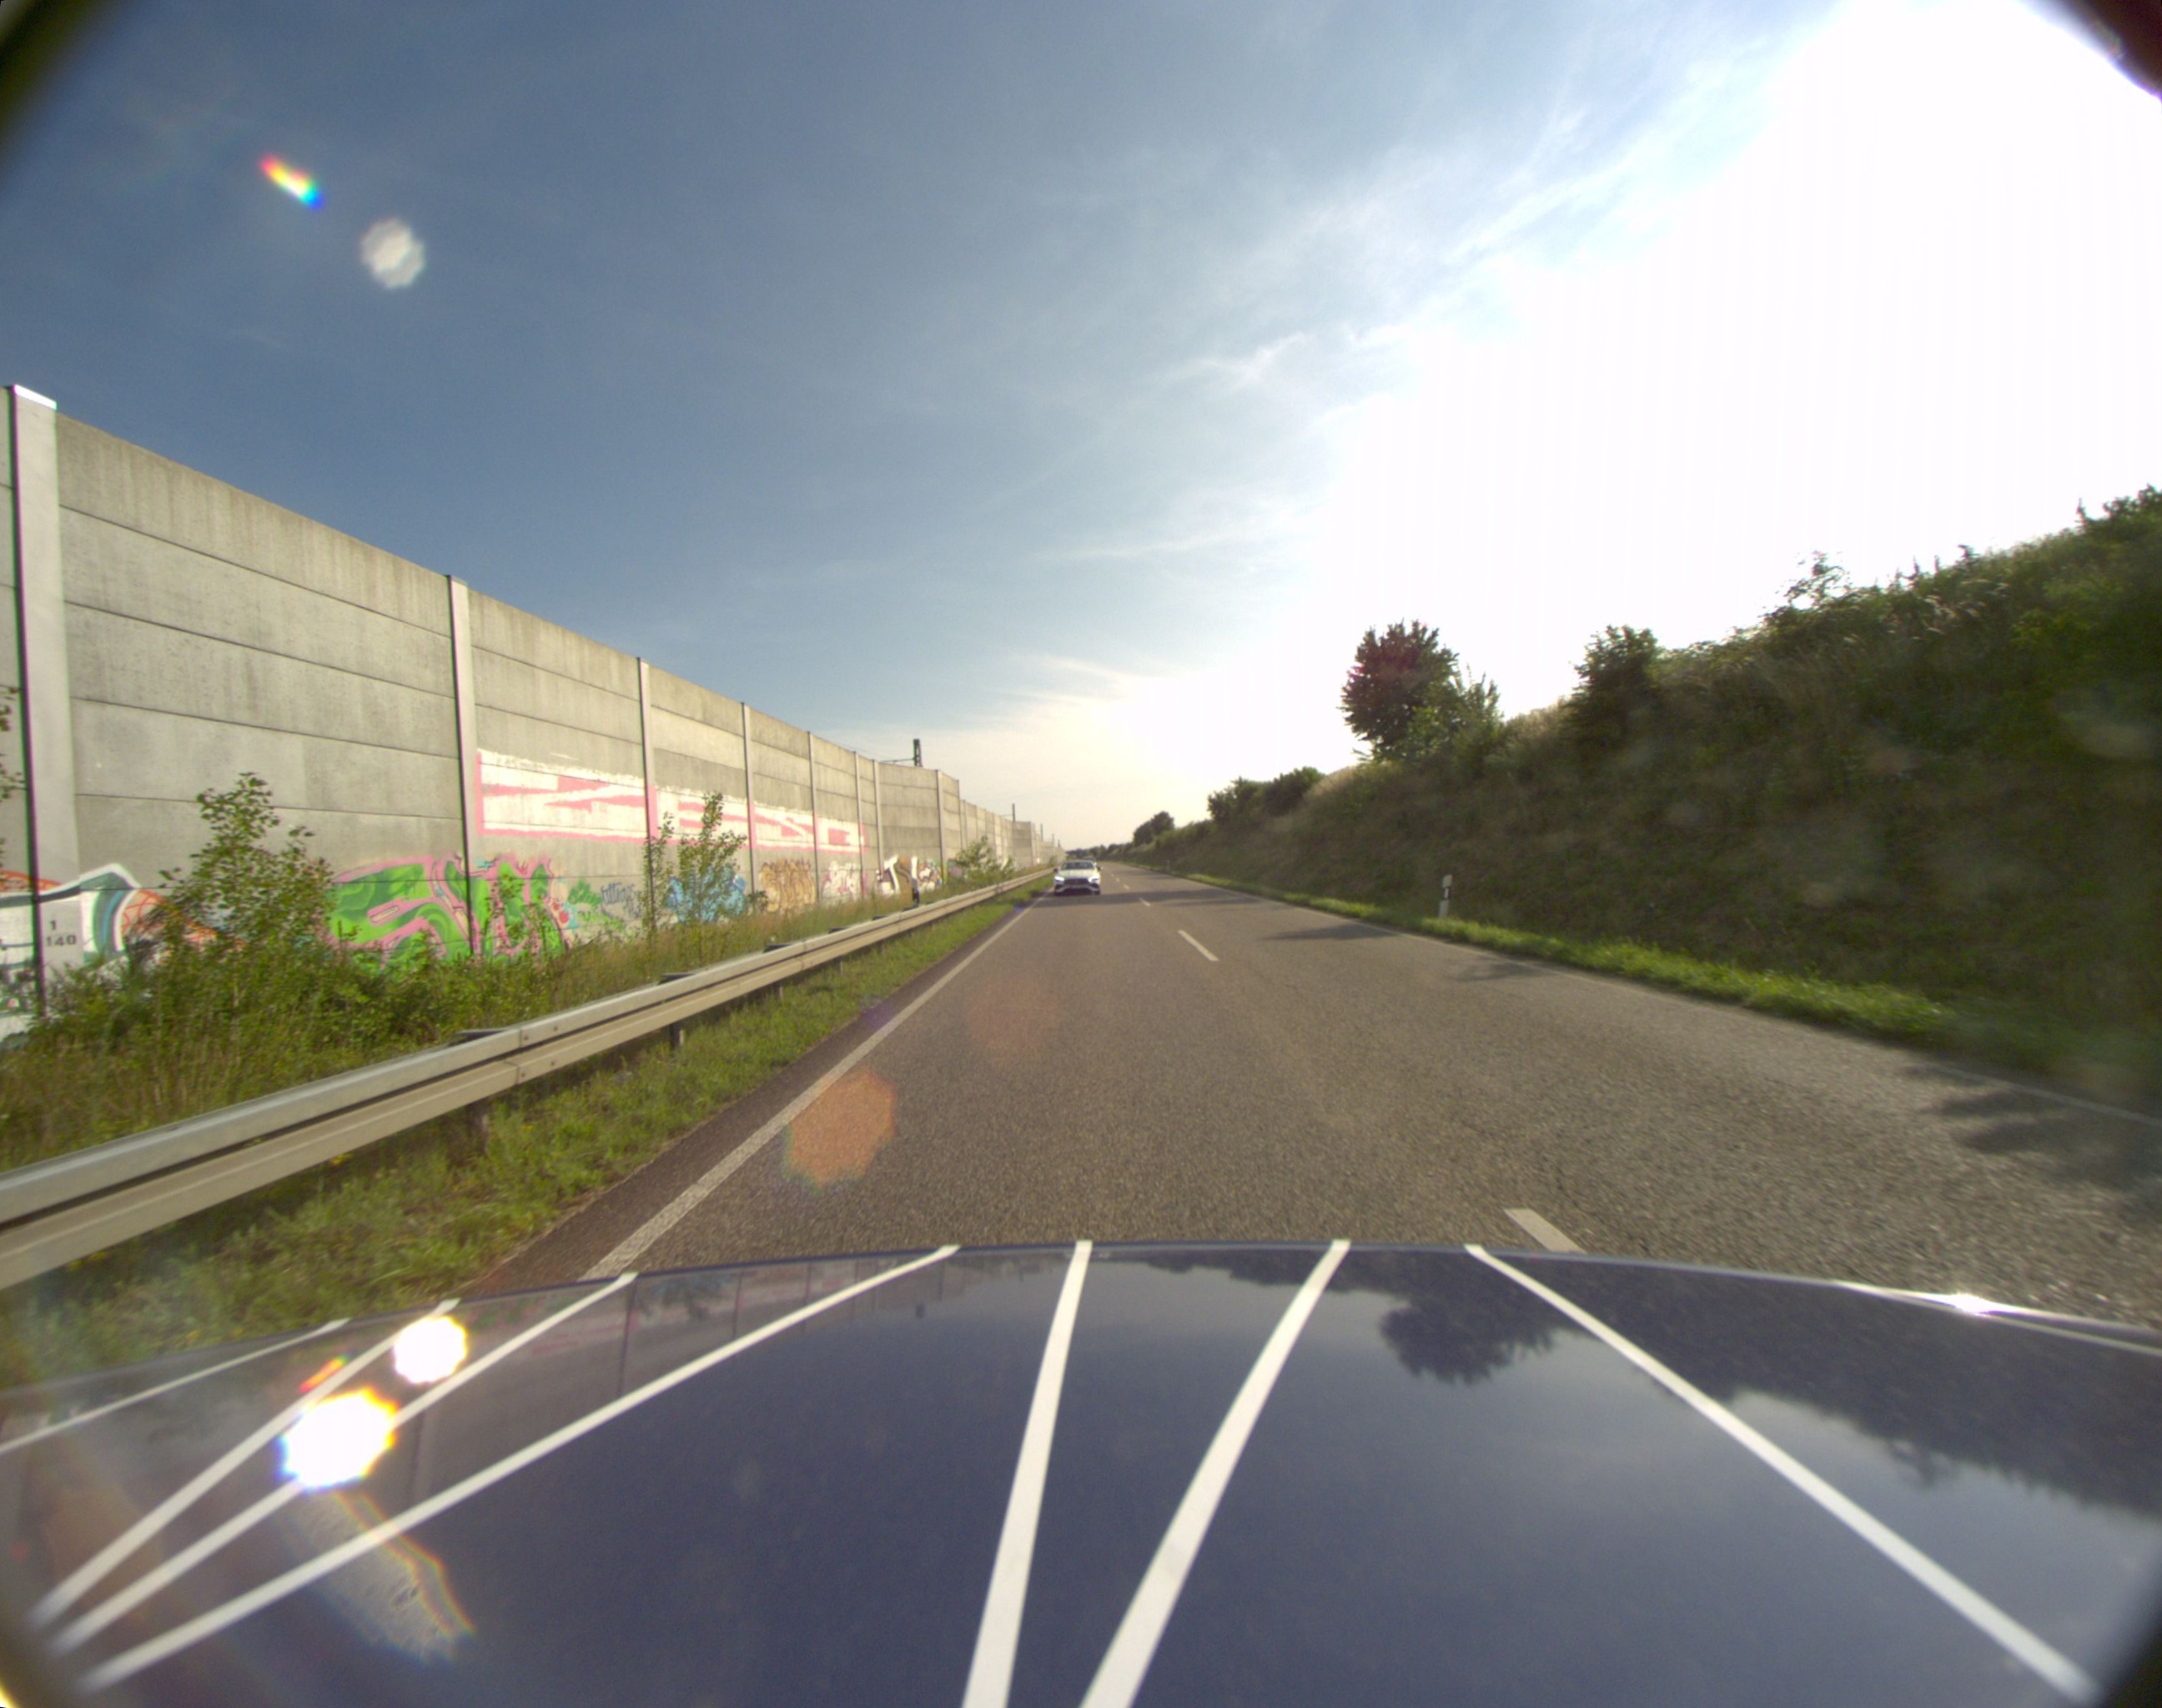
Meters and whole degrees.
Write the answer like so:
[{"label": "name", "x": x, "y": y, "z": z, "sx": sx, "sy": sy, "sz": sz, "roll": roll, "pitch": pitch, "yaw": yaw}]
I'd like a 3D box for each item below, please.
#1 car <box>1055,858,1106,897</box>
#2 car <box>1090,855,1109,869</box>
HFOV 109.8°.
[{"label": "car", "x": -0.098, "y": 0.928, "z": 32.307, "sx": 1.930, "sy": 1.399, "sz": 4.973, "roll": -2, "pitch": 0, "yaw": -2}, {"label": "car", "x": 1.904, "y": 0.825, "z": 78.911, "sx": 1.929, "sy": 1.399, "sz": 4.974, "roll": -1, "pitch": 0, "yaw": 1}]
